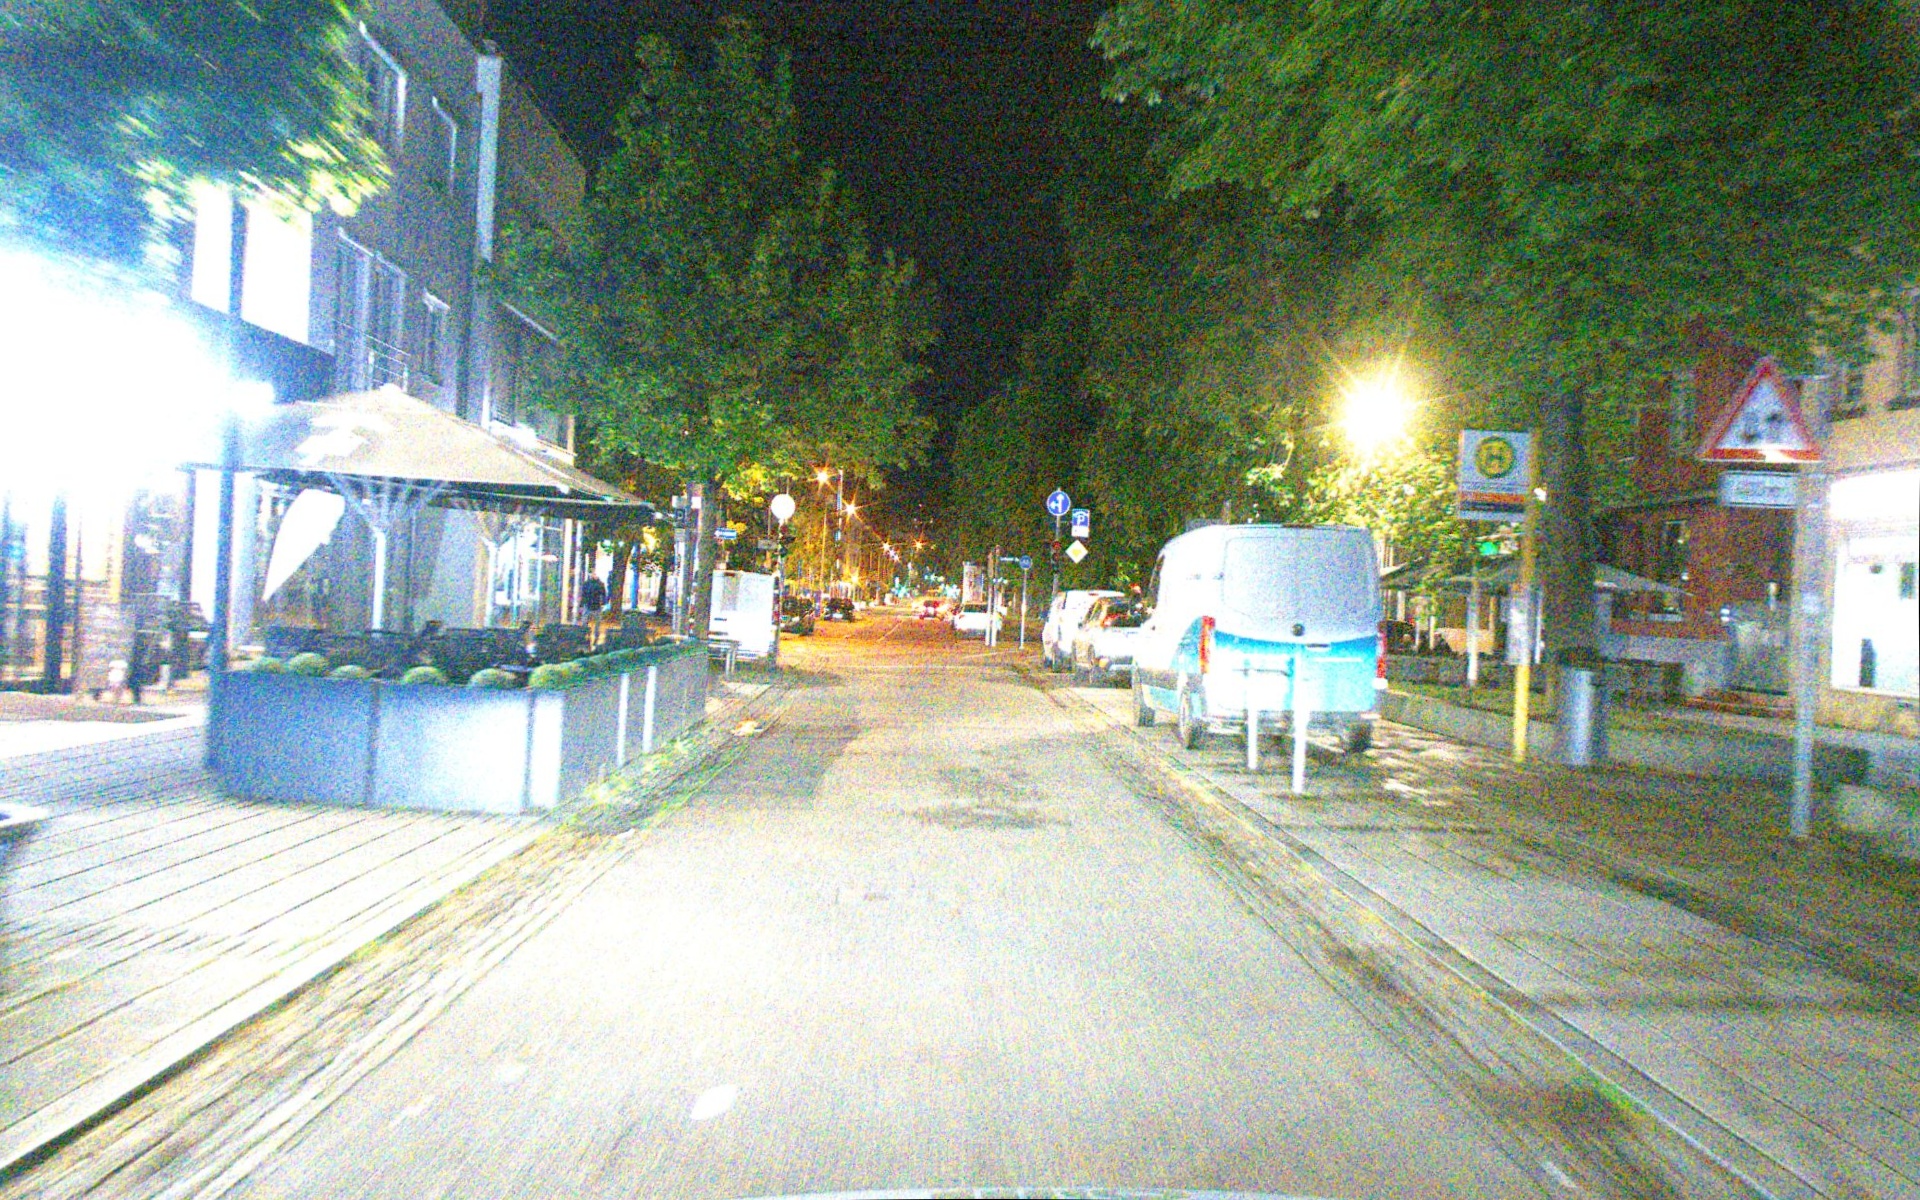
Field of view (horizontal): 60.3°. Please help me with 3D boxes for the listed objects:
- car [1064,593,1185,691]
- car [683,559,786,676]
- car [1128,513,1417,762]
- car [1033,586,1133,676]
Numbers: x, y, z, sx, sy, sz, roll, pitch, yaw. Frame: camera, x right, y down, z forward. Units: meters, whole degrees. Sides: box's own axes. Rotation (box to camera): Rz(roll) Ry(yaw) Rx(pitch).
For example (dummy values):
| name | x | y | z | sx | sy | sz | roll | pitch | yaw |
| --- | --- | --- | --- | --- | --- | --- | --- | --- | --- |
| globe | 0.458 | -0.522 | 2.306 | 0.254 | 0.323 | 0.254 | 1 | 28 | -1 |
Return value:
| name | x | y | z | sx | sy | sz | roll | pitch | yaw |
| --- | --- | --- | --- | --- | --- | --- | --- | --- | --- |
| car | 3.077 | 0.744 | 31.706 | 1.650 | 1.688 | 4.294 | 2 | 0 | -3 |
| car | -4.644 | 0.333 | 34.608 | 1.817 | 2.123 | 5.084 | 5 | 0 | -6 |
| car | 3.332 | 0.369 | 18.800 | 2.091 | 2.367 | 5.150 | 2 | 0 | -2 |
| car | 2.733 | 0.657 | 37.695 | 1.753 | 1.854 | 4.578 | 2 | 0 | -2 |
